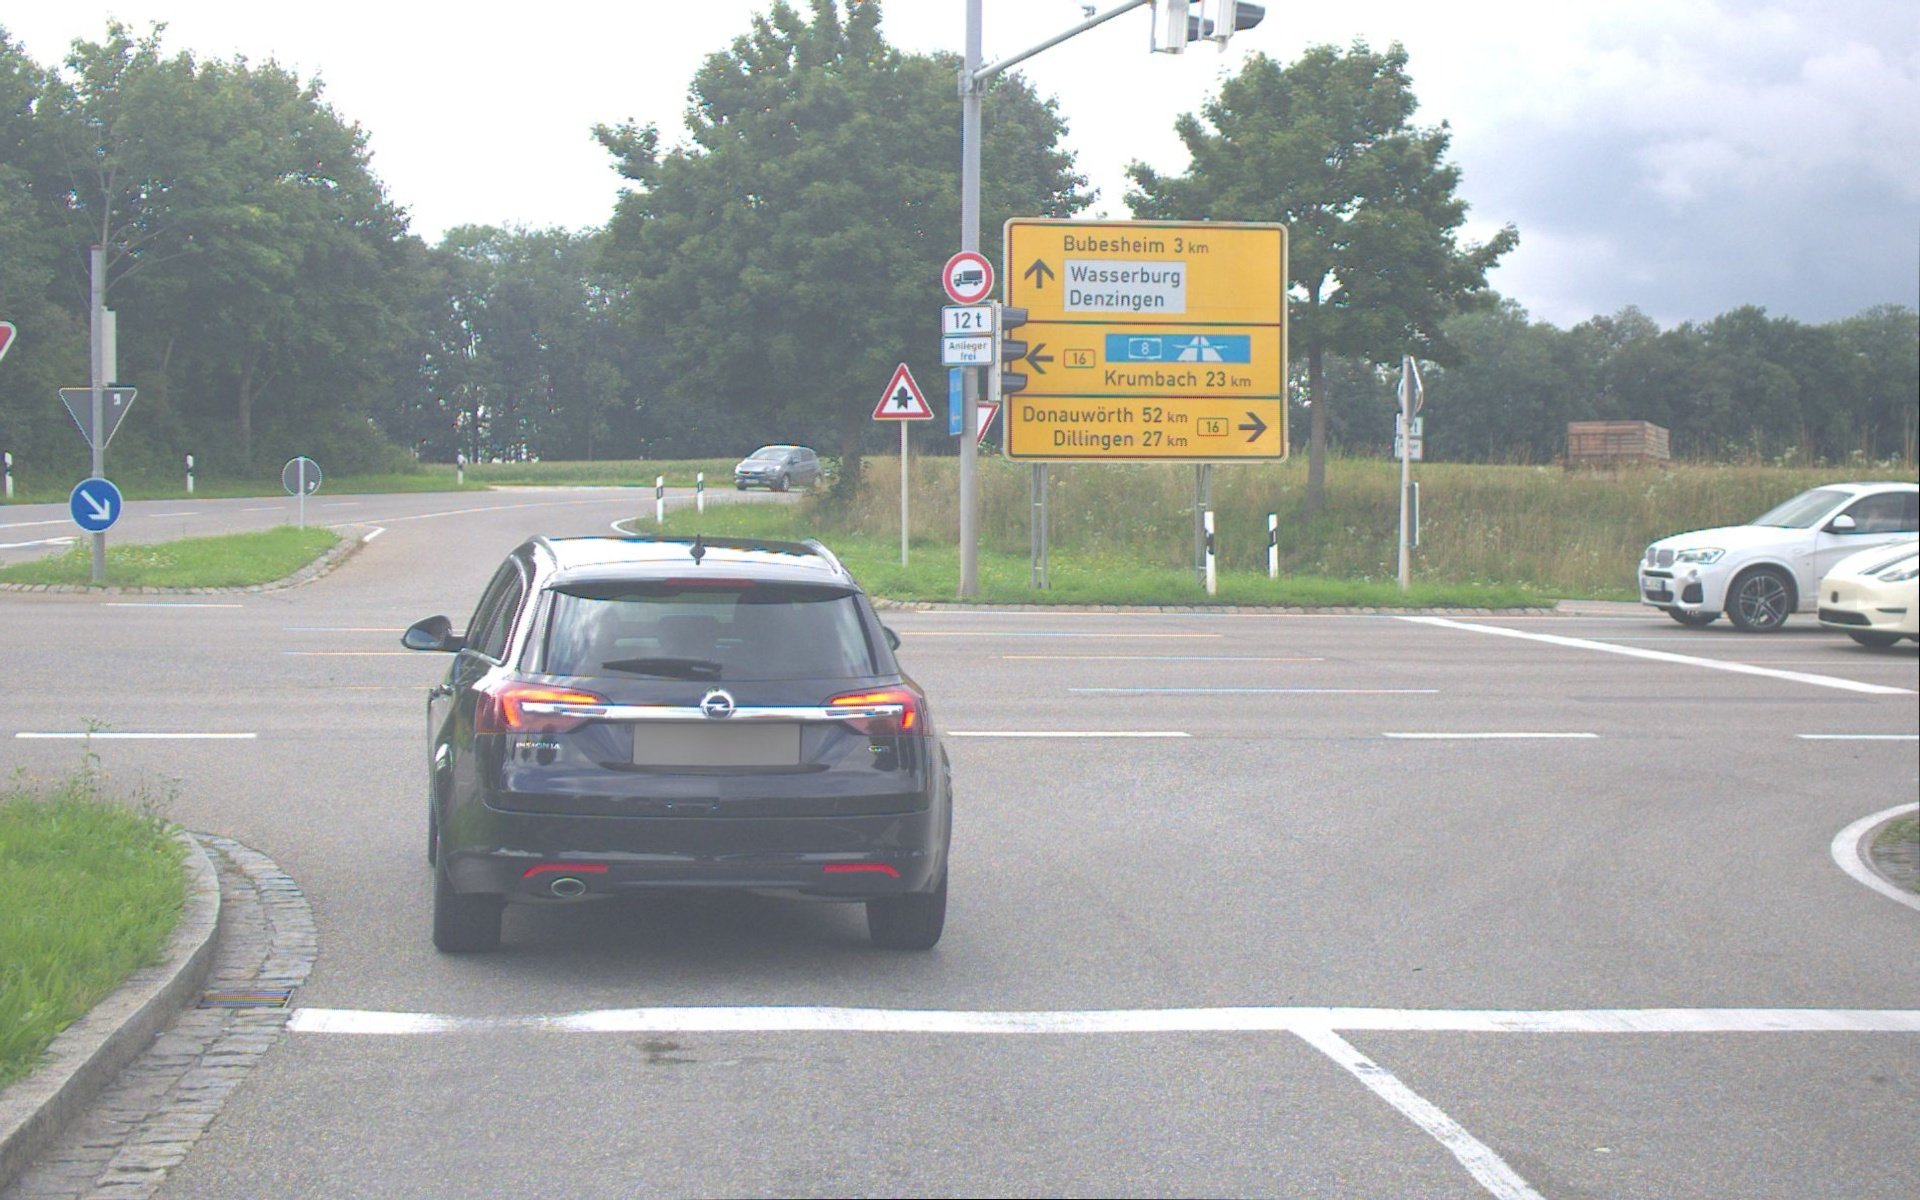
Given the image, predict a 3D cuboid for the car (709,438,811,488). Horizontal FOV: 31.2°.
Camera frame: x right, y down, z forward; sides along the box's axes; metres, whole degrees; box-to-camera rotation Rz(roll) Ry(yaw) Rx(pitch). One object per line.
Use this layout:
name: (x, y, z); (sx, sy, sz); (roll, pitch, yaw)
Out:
car: (-6.488, -4.454, 112.075); (1.995, 1.530, 3.997); (1, 2, 18)

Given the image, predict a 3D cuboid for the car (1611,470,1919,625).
car: (9.595, -0.573, 37.971); (4.259, 1.623, 2.001); (1, 1, -13)

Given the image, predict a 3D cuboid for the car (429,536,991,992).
car: (-1.111, 0.497, 13.285); (1.807, 1.446, 4.274); (1, 1, -8)

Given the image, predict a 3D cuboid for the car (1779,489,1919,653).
car: (10.804, -0.280, 34.224); (4.731, 1.559, 2.001); (1, 1, -12)
